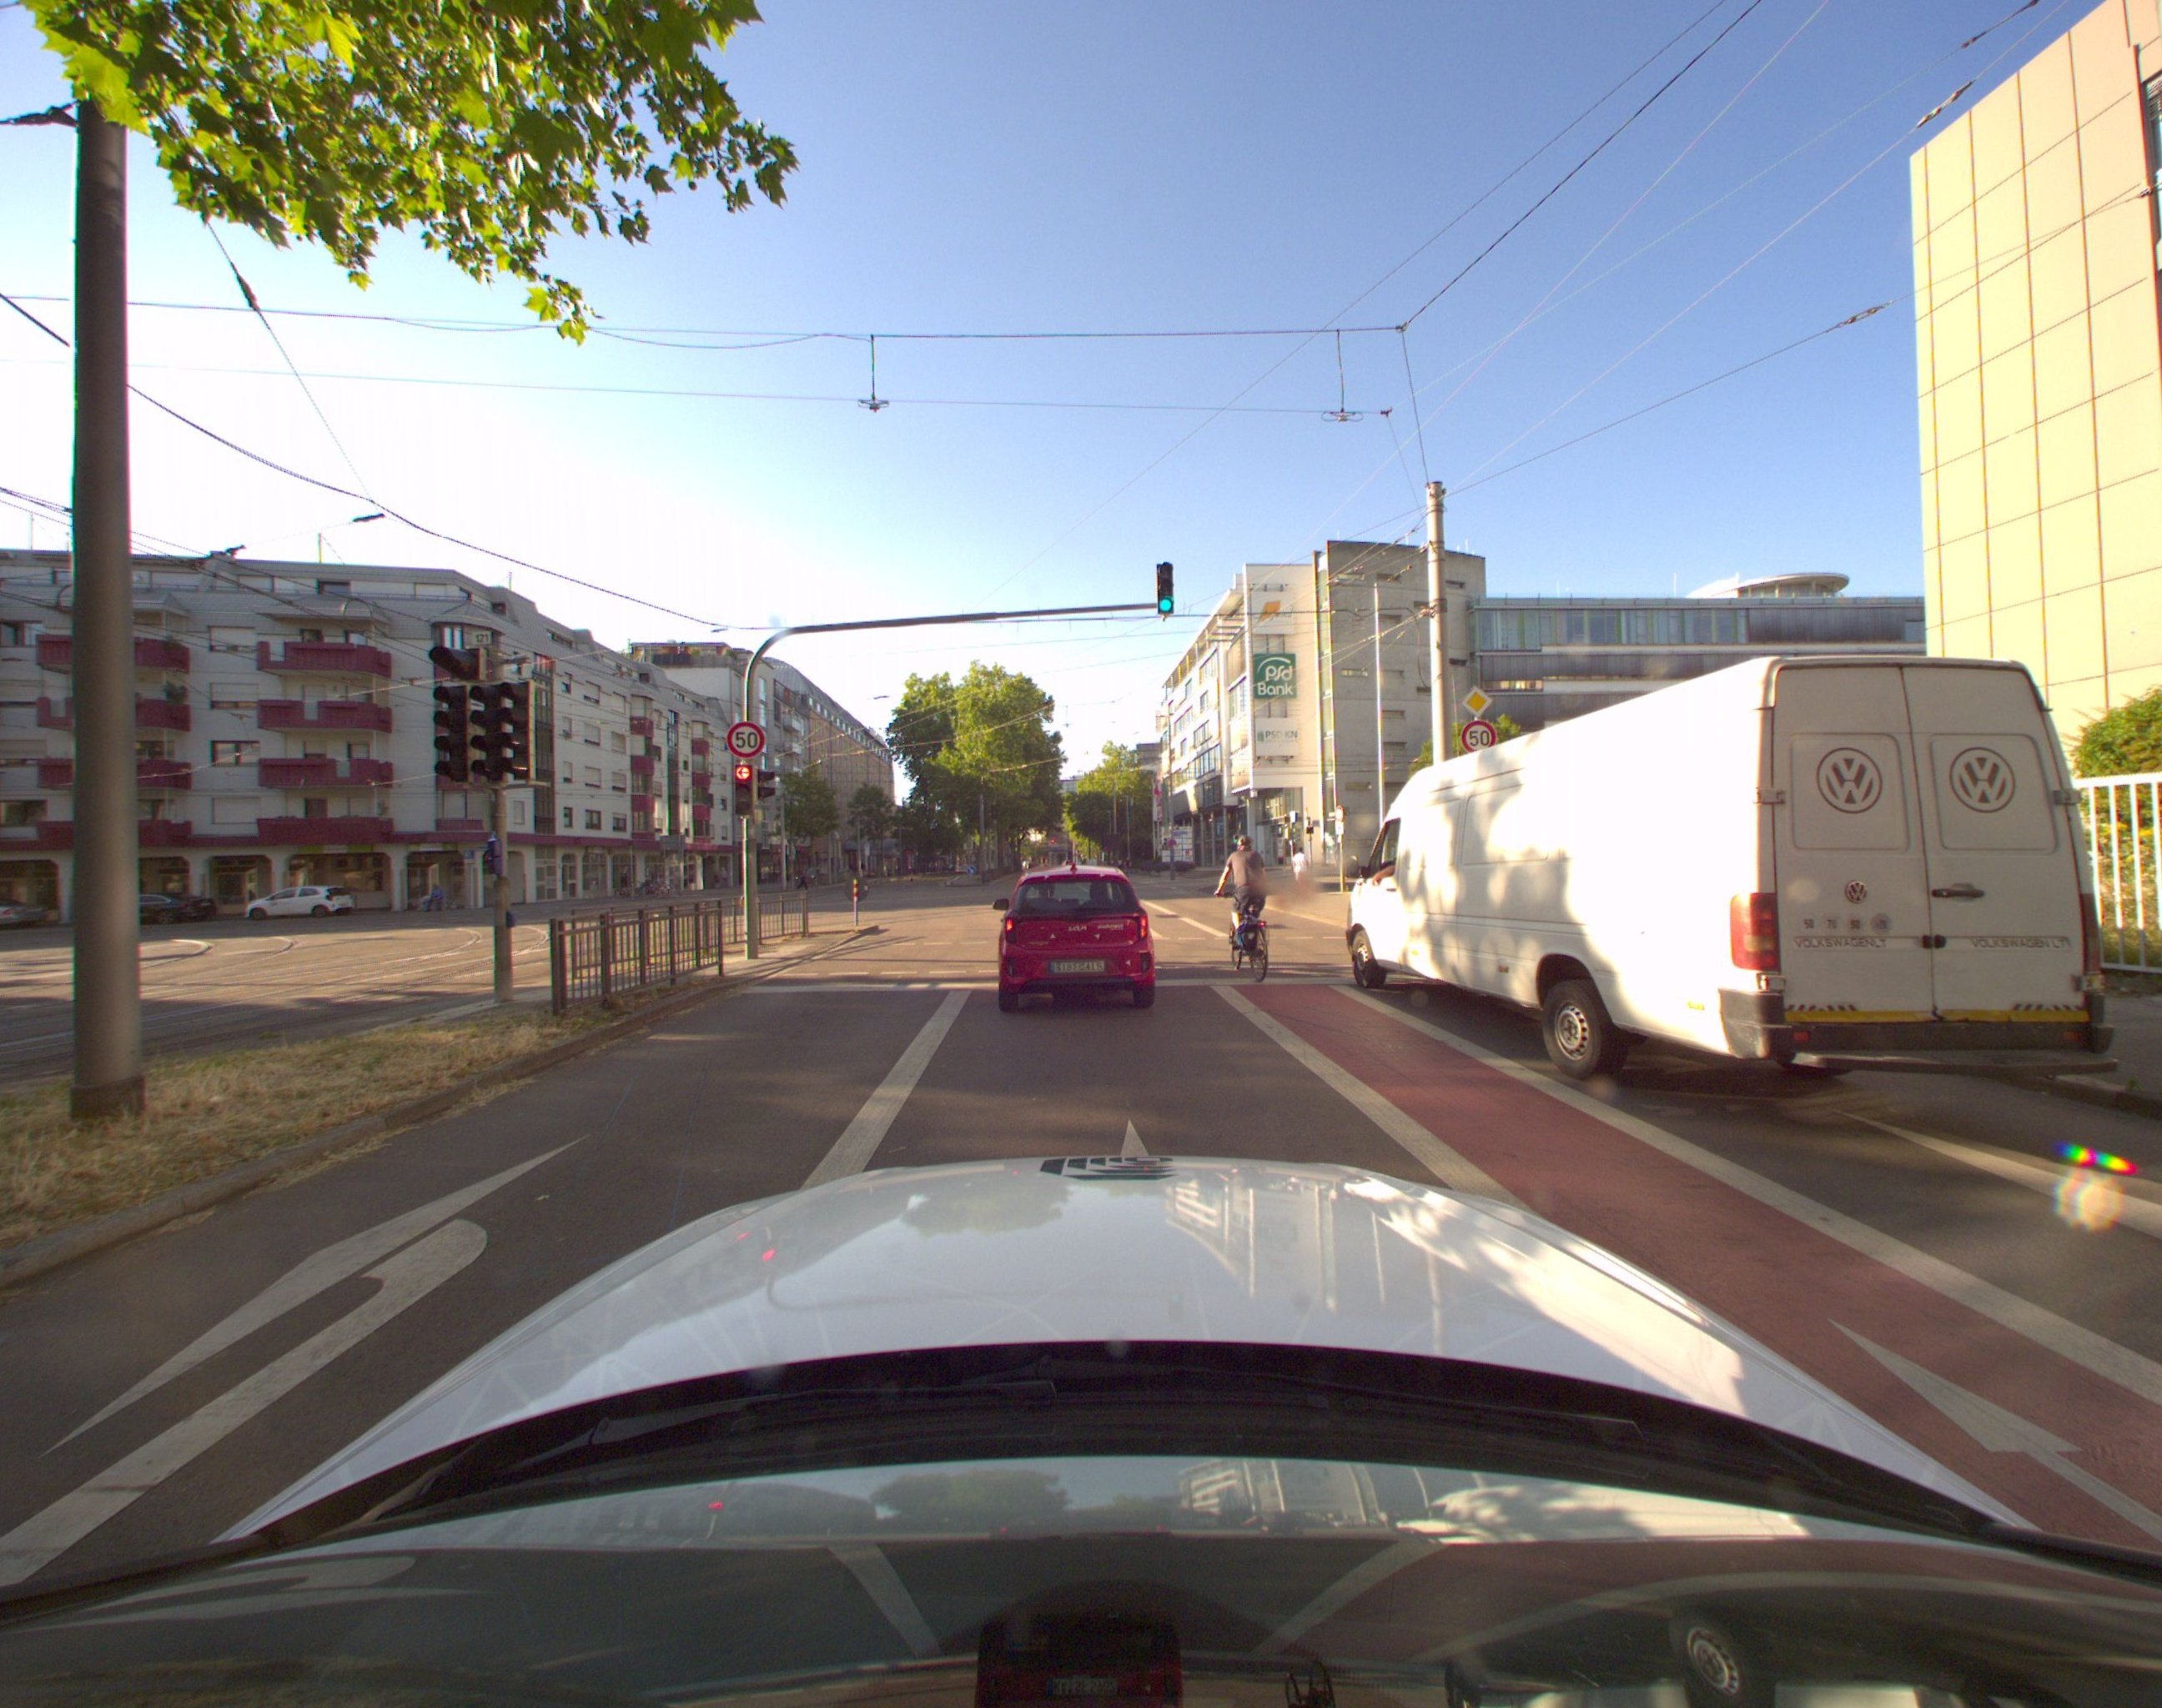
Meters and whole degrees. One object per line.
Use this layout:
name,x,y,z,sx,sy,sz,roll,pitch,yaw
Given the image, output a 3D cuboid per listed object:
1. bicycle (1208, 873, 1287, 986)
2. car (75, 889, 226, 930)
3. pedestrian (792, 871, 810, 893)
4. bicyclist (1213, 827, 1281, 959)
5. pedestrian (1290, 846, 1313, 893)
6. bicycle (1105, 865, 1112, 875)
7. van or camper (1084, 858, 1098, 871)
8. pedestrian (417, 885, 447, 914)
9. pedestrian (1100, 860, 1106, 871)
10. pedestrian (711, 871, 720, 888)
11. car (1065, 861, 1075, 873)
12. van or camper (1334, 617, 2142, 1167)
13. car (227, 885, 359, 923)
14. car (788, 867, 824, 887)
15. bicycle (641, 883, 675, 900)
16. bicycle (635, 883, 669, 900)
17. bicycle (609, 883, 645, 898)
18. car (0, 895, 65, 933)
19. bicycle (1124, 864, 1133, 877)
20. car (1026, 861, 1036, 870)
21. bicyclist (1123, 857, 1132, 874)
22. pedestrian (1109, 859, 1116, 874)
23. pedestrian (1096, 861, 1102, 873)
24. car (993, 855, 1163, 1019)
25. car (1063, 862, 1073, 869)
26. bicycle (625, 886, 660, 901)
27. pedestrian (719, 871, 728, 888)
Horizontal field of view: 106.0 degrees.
bicycle,2.126,0.917,10.612,0.647,1.281,1.967,-2,0,2
car,-42.405,2.504,37.223,4.112,1.555,1.992,-2,-1,-12
pedestrian,-20.003,1.987,58.239,1.043,1.544,0.694,-2,-1,-2
bicyclist,2.134,0.480,10.579,0.647,1.603,1.089,-2,-1,2
pedestrian,8.869,0.603,32.758,0.772,1.824,1.219,-2,-1,11
bicycle,3.097,1.796,91.380,0.519,0.975,2.199,-5,0,-2
van or camper,1.570,1.745,132.308,1.988,1.989,4.741,-1,-1,-2
pedestrian,-32.442,2.273,40.728,0.857,1.384,0.833,-2,-1,-14
pedestrian,3.687,1.945,135.509,0.888,1.753,0.841,-2,-1,1
pedestrian,-32.054,2.233,71.482,0.533,1.494,0.586,-2,-1,-6
car,-1.787,2.055,130.706,1.631,1.800,3.328,-2,0,-1
van or camper,4.272,0.193,7.219,1.963,2.716,6.301,-1,0,-1
car,-37.149,2.332,38.521,3.989,1.555,1.992,-2,-1,-12
car,-24.445,2.027,72.603,1.951,1.672,4.255,-2,0,-3
bicycle,-27.670,2.460,53.296,1.840,0.985,0.552,-2,-1,-6
bicycle,-27.760,2.417,52.683,1.840,0.985,0.552,-2,-1,-6
bicycle,-28.235,2.266,50.655,1.837,0.854,0.553,-2,-1,-1
car,-48.581,2.717,35.828,4.572,1.555,1.992,-2,-1,-12
bicycle,4.419,1.507,76.168,0.693,1.098,1.751,-5,0,2
car,-11.033,2.514,179.213,1.991,2.014,3.992,-2,0,-6
bicyclist,4.390,1.081,76.256,0.719,1.603,1.089,-4,-1,2
pedestrian,3.558,1.417,91.141,0.645,1.680,0.651,-2,-1,-3
pedestrian,2.408,1.721,108.832,0.641,1.579,0.722,-5,-1,-5
car,-0.100,0.806,9.510,1.609,1.535,3.408,-1,0,-3
car,-2.884,2.465,175.436,1.776,1.535,3.503,-1,0,-8
bicycle,-27.666,2.500,51.412,1.837,0.854,0.553,-2,-1,-1
pedestrian,-31.410,2.229,71.590,0.533,1.494,0.586,-2,-1,-6
